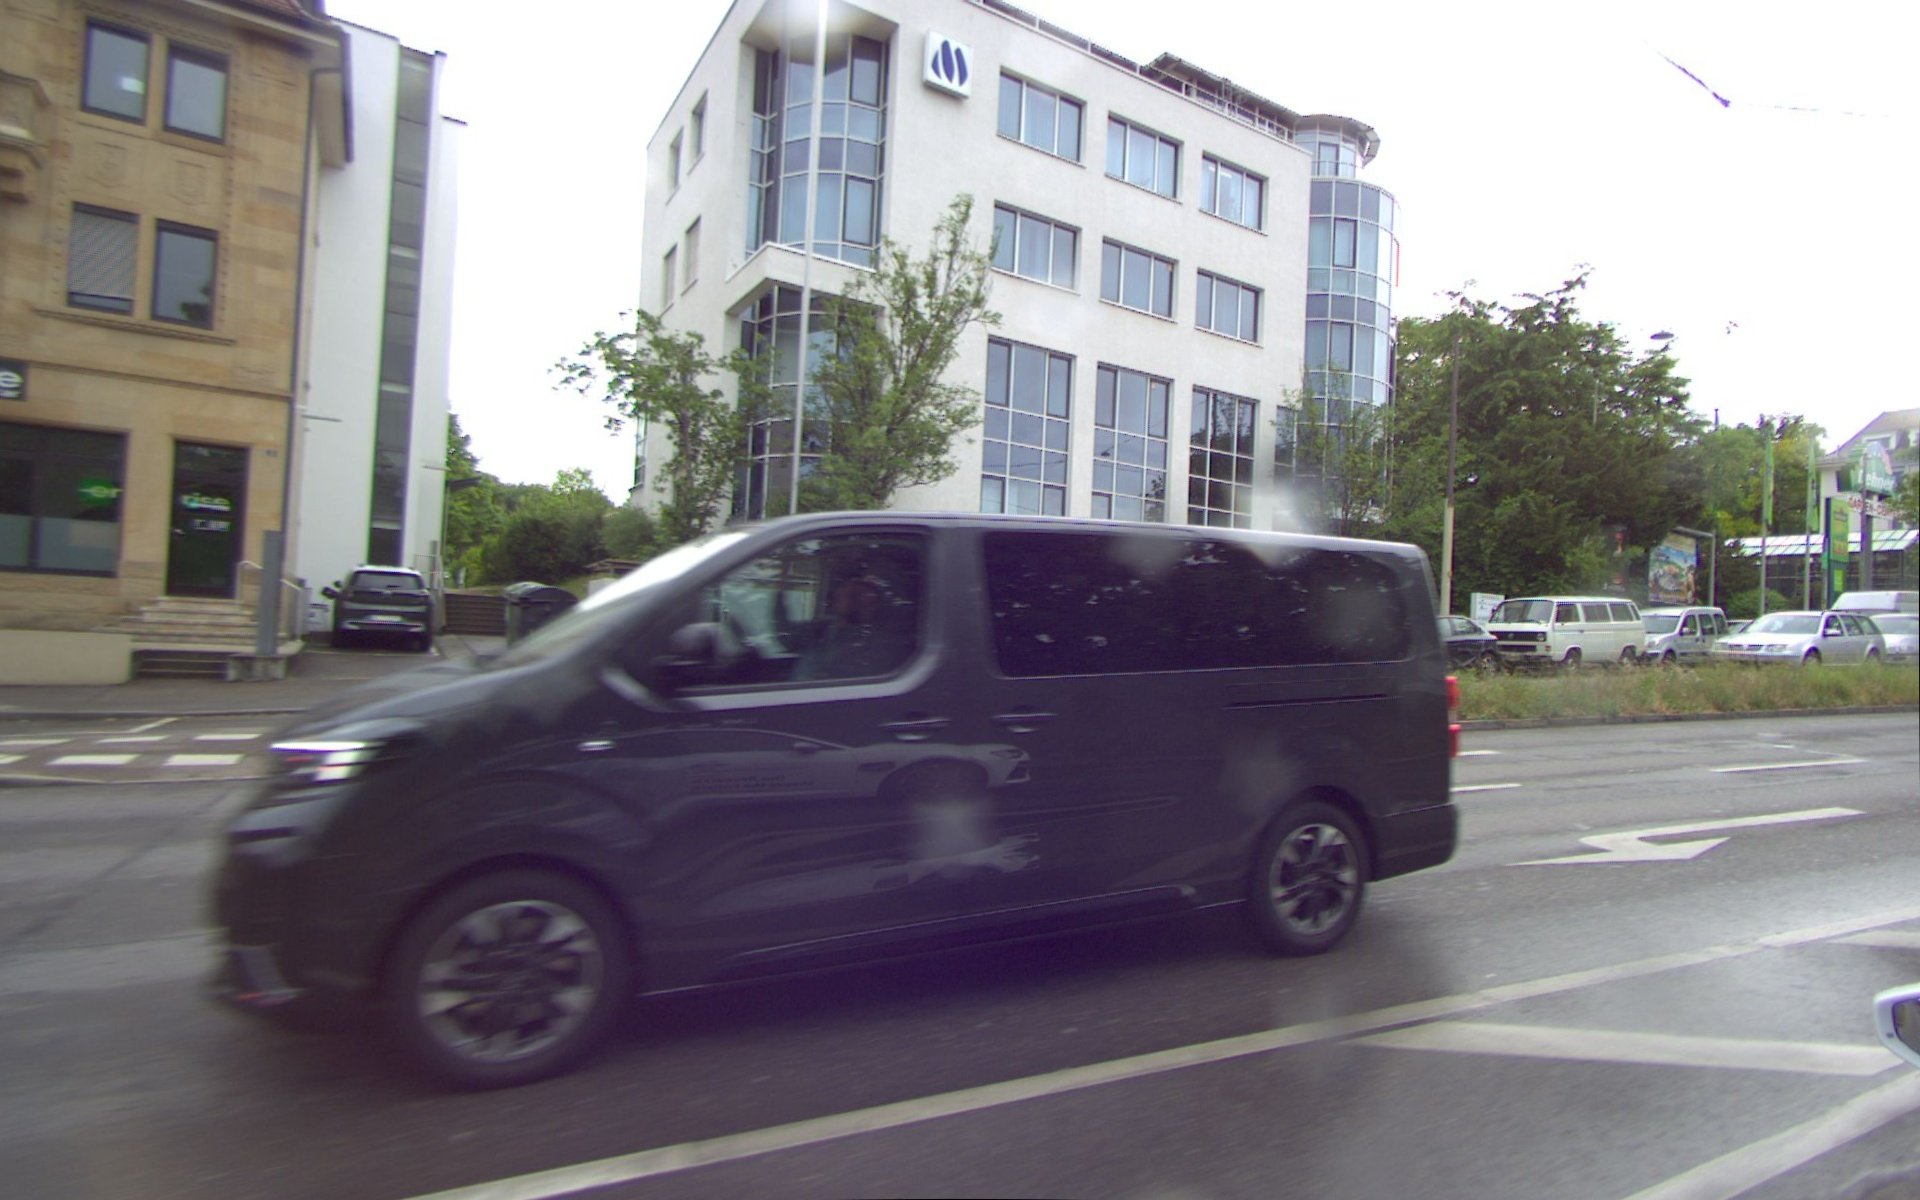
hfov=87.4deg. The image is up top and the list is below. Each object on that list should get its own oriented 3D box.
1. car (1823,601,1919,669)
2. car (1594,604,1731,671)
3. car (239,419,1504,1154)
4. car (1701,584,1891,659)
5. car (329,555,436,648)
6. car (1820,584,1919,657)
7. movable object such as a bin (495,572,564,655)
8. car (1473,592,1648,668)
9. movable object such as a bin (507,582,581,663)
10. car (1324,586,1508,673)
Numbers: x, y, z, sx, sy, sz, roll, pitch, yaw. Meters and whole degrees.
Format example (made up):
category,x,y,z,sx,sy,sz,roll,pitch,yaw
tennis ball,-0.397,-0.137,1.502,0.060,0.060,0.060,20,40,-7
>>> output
category,x,y,z,sx,sy,sz,roll,pitch,yaw
car,23.113,0.846,24.712,3.943,1.560,1.585,1,-1,-29
car,19.083,0.990,27.253,3.734,1.718,1.585,1,-1,-29
car,-0.045,0.556,4.613,4.975,1.891,2.008,2,-1,-27
car,18.189,0.471,21.821,4.387,1.498,1.641,1,-1,-28
car,-11.888,0.059,20.722,1.696,1.697,3.028,4,-3,-30
car,33.449,0.739,36.307,5.591,2.476,1.953,1,-1,-31
movable object such as a bin,-8.540,0.272,19.893,1.029,1.561,1.237,3,-1,-32
car,15.131,0.745,25.255,4.527,1.769,1.763,1,-1,-29
movable object such as a bin,-7.660,0.403,18.470,1.085,1.425,1.180,1,1,-31
car,9.894,0.619,21.736,3.945,1.744,1.604,1,-1,-29
